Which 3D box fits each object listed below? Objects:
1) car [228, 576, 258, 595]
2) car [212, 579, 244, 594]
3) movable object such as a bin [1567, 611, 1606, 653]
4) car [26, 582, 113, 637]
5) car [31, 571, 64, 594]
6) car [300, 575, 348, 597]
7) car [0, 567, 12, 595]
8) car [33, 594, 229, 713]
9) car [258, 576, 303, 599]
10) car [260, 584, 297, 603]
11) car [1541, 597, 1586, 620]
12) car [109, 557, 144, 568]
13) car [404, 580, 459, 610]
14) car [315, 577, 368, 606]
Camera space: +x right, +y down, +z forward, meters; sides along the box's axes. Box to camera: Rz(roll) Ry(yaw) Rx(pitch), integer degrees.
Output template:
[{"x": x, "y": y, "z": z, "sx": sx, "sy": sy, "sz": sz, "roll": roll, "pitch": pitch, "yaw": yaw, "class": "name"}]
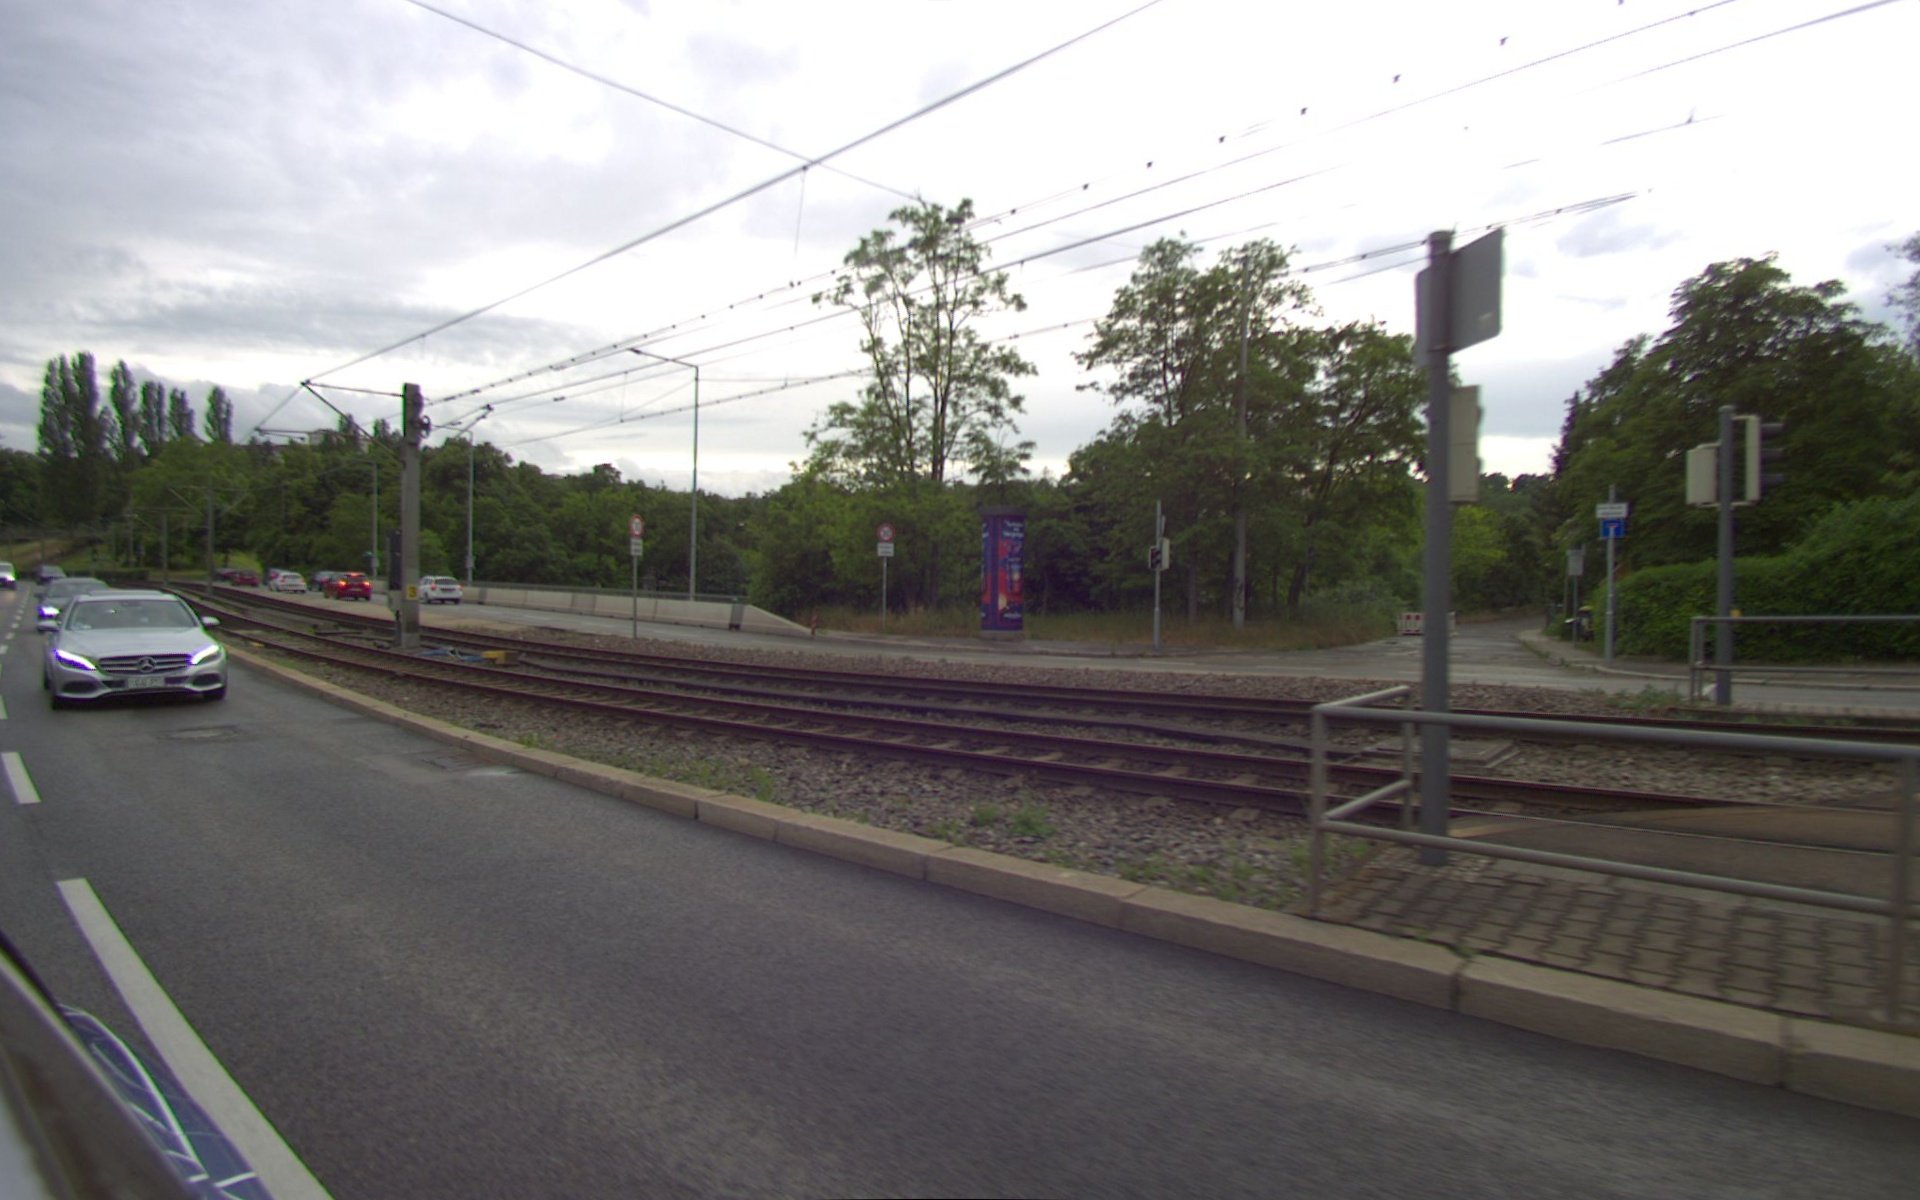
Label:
[{"x": -61.369, "y": -1.236, "z": 86.637, "sx": 3.019, "sy": 1.504, "sz": 1.582, "roll": 4, "pitch": 2, "yaw": 44, "class": "car"}, {"x": -76.731, "y": -1.431, "z": 106.040, "sx": 4.740, "sy": 1.447, "sz": 1.797, "roll": 1, "pitch": 1, "yaw": 42, "class": "car"}, {"x": 22.727, "y": 1.148, "z": 36.739, "sx": 0.669, "sy": 1.437, "sz": 1.286, "roll": 1, "pitch": 3, "yaw": 7, "class": "movable object such as a bin"}, {"x": -24.810, "y": 0.215, "z": 28.198, "sx": 1.710, "sy": 1.362, "sz": 4.005, "roll": 0, "pitch": 2, "yaw": -42, "class": "car"}, {"x": -75.819, "y": -1.468, "z": 84.079, "sx": 4.000, "sy": 1.830, "sz": 1.744, "roll": 1, "pitch": 2, "yaw": 43, "class": "car"}, {"x": -48.663, "y": -1.092, "z": 77.349, "sx": 5.187, "sy": 1.609, "sz": 1.947, "roll": 1, "pitch": 0, "yaw": 45, "class": "car"}, {"x": -66.422, "y": -1.328, "z": 69.463, "sx": 4.001, "sy": 1.830, "sz": 1.744, "roll": 2, "pitch": 3, "yaw": 43, "class": "car"}, {"x": -11.639, "y": 0.624, "z": 14.116, "sx": 1.845, "sy": 1.366, "sz": 4.064, "roll": -1, "pitch": 1, "yaw": -43, "class": "car"}, {"x": -48.094, "y": -0.894, "z": 71.608, "sx": 4.494, "sy": 1.447, "sz": 1.710, "roll": 3, "pitch": 1, "yaw": 45, "class": "car"}, {"x": -62.347, "y": -0.600, "z": 92.595, "sx": 4.734, "sy": 1.609, "sz": 1.875, "roll": 1, "pitch": 0, "yaw": 45, "class": "car"}, {"x": 48.034, "y": 0.697, "z": 80.548, "sx": 3.939, "sy": 1.765, "sz": 2.002, "roll": 1, "pitch": -1, "yaw": -42, "class": "car"}, {"x": -105.699, "y": -4.735, "z": 128.299, "sx": 4.599, "sy": 1.324, "sz": 1.824, "roll": 0, "pitch": 2, "yaw": 30, "class": "car"}, {"x": -29.629, "y": -0.315, "z": 56.667, "sx": 1.798, "sy": 1.526, "sz": 4.537, "roll": 0, "pitch": 2, "yaw": -40, "class": "car"}, {"x": -36.111, "y": -0.516, "z": 59.068, "sx": 1.825, "sy": 1.609, "sz": 4.739, "roll": 1, "pitch": 0, "yaw": -41, "class": "car"}]
